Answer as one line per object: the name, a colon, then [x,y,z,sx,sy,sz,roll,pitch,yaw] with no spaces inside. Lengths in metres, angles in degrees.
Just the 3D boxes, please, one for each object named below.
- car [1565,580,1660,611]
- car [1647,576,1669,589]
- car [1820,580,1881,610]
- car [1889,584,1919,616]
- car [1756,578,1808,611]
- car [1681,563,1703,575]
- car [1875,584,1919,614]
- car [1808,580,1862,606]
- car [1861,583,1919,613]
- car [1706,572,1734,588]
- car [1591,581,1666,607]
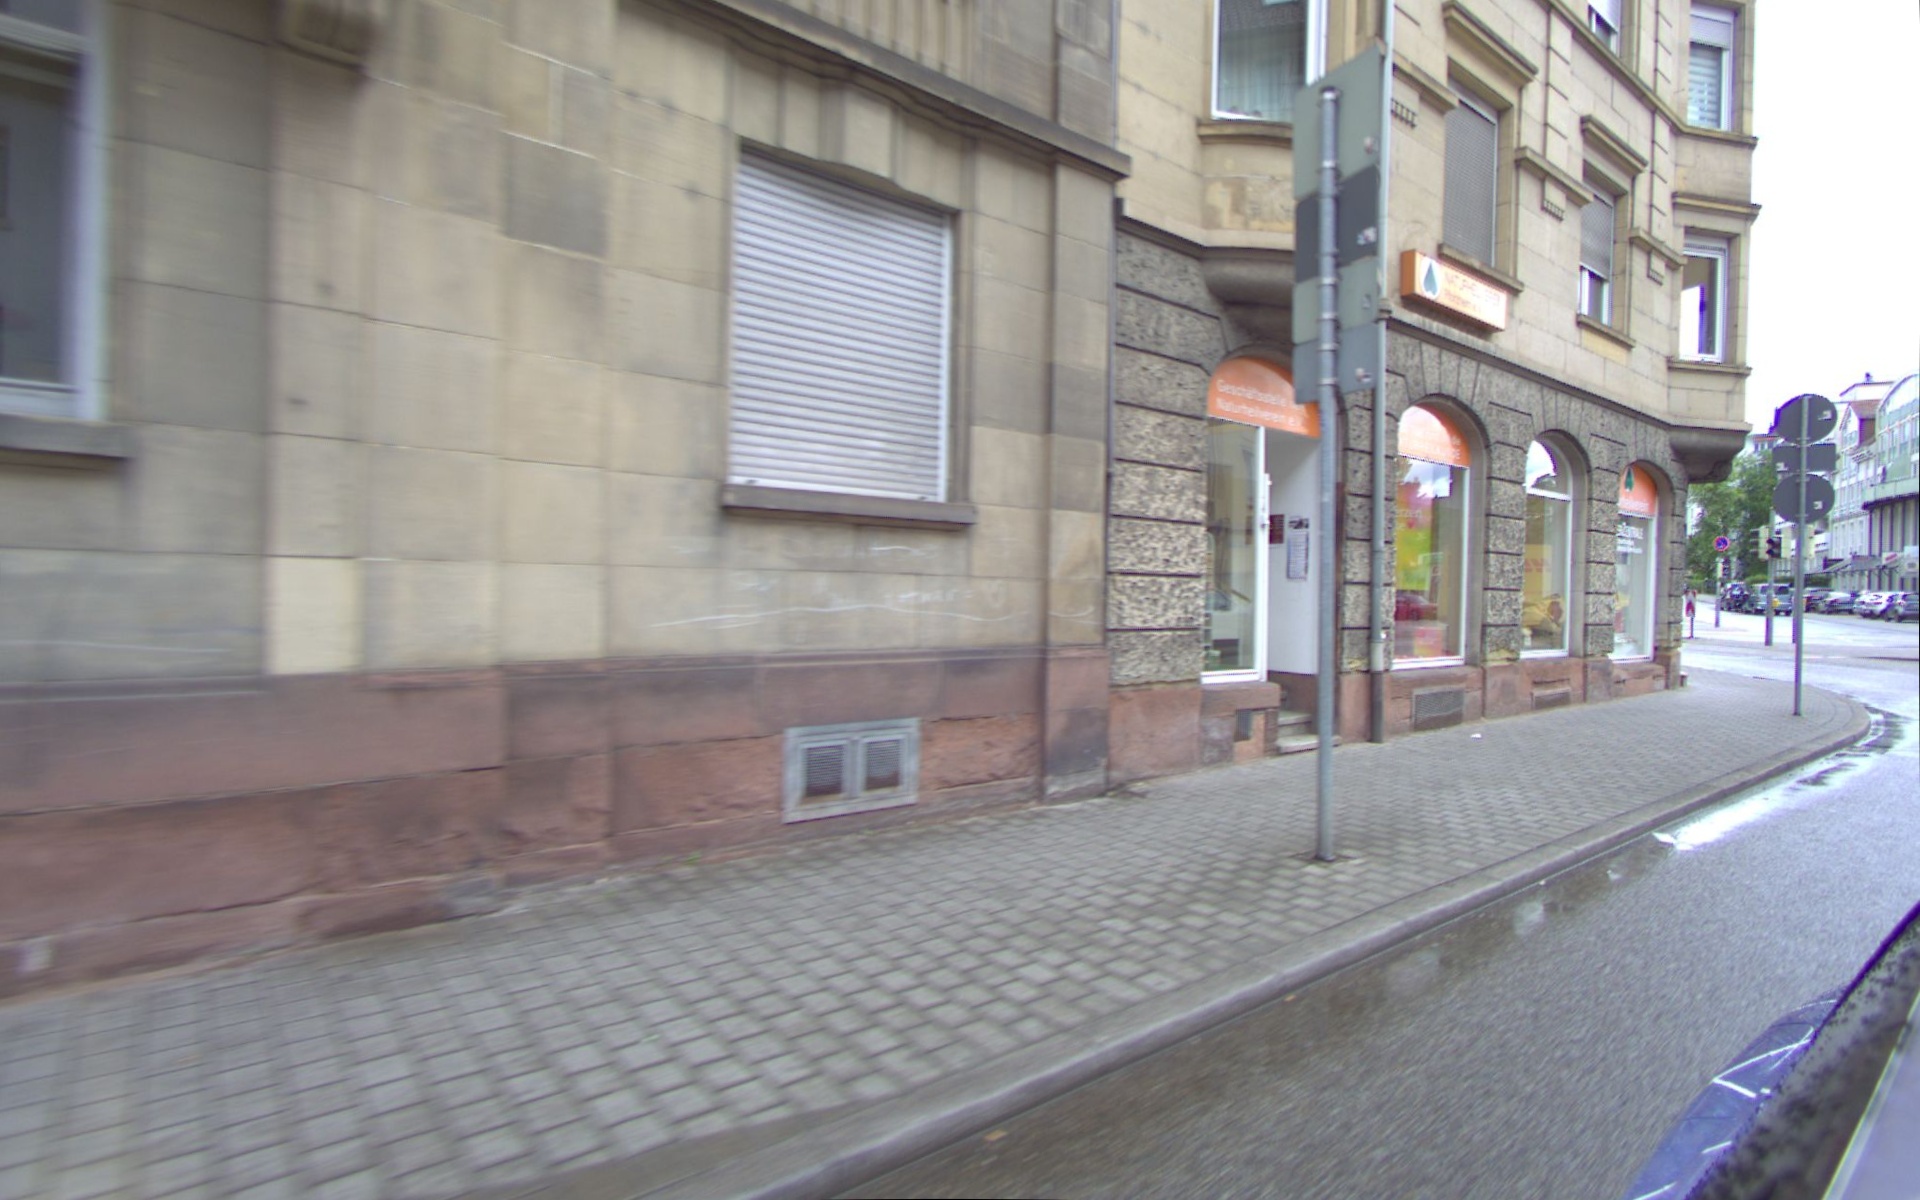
car: [35.576,-0.270,55.258,1.764,1.513,4.007,0,2,-26]
car: [90.313,-2.297,130.952,1.984,1.604,4.608,2,2,31]
car: [54.446,-0.308,61.960,1.984,1.605,3.956,-5,-1,31]
car: [48.426,0.013,50.729,1.985,1.526,3.956,2,2,32]
car: [51.568,-0.402,63.546,1.984,1.938,3.956,2,2,31]
car: [100.077,-4.281,138.355,1.984,1.604,4.608,2,2,31]
car: [51.318,-0.048,53.533,3.967,1.526,1.979,2,2,30]
car: [57.581,-0.517,66.674,1.984,1.604,3.956,2,2,31]
car: [52.504,-0.106,55.680,3.967,1.526,1.979,2,2,30]
car: [82.217,-2.165,109.507,1.984,1.604,4.608,2,2,31]
car: [43.073,-0.414,65.335,3.972,1.526,1.977,2,2,33]
